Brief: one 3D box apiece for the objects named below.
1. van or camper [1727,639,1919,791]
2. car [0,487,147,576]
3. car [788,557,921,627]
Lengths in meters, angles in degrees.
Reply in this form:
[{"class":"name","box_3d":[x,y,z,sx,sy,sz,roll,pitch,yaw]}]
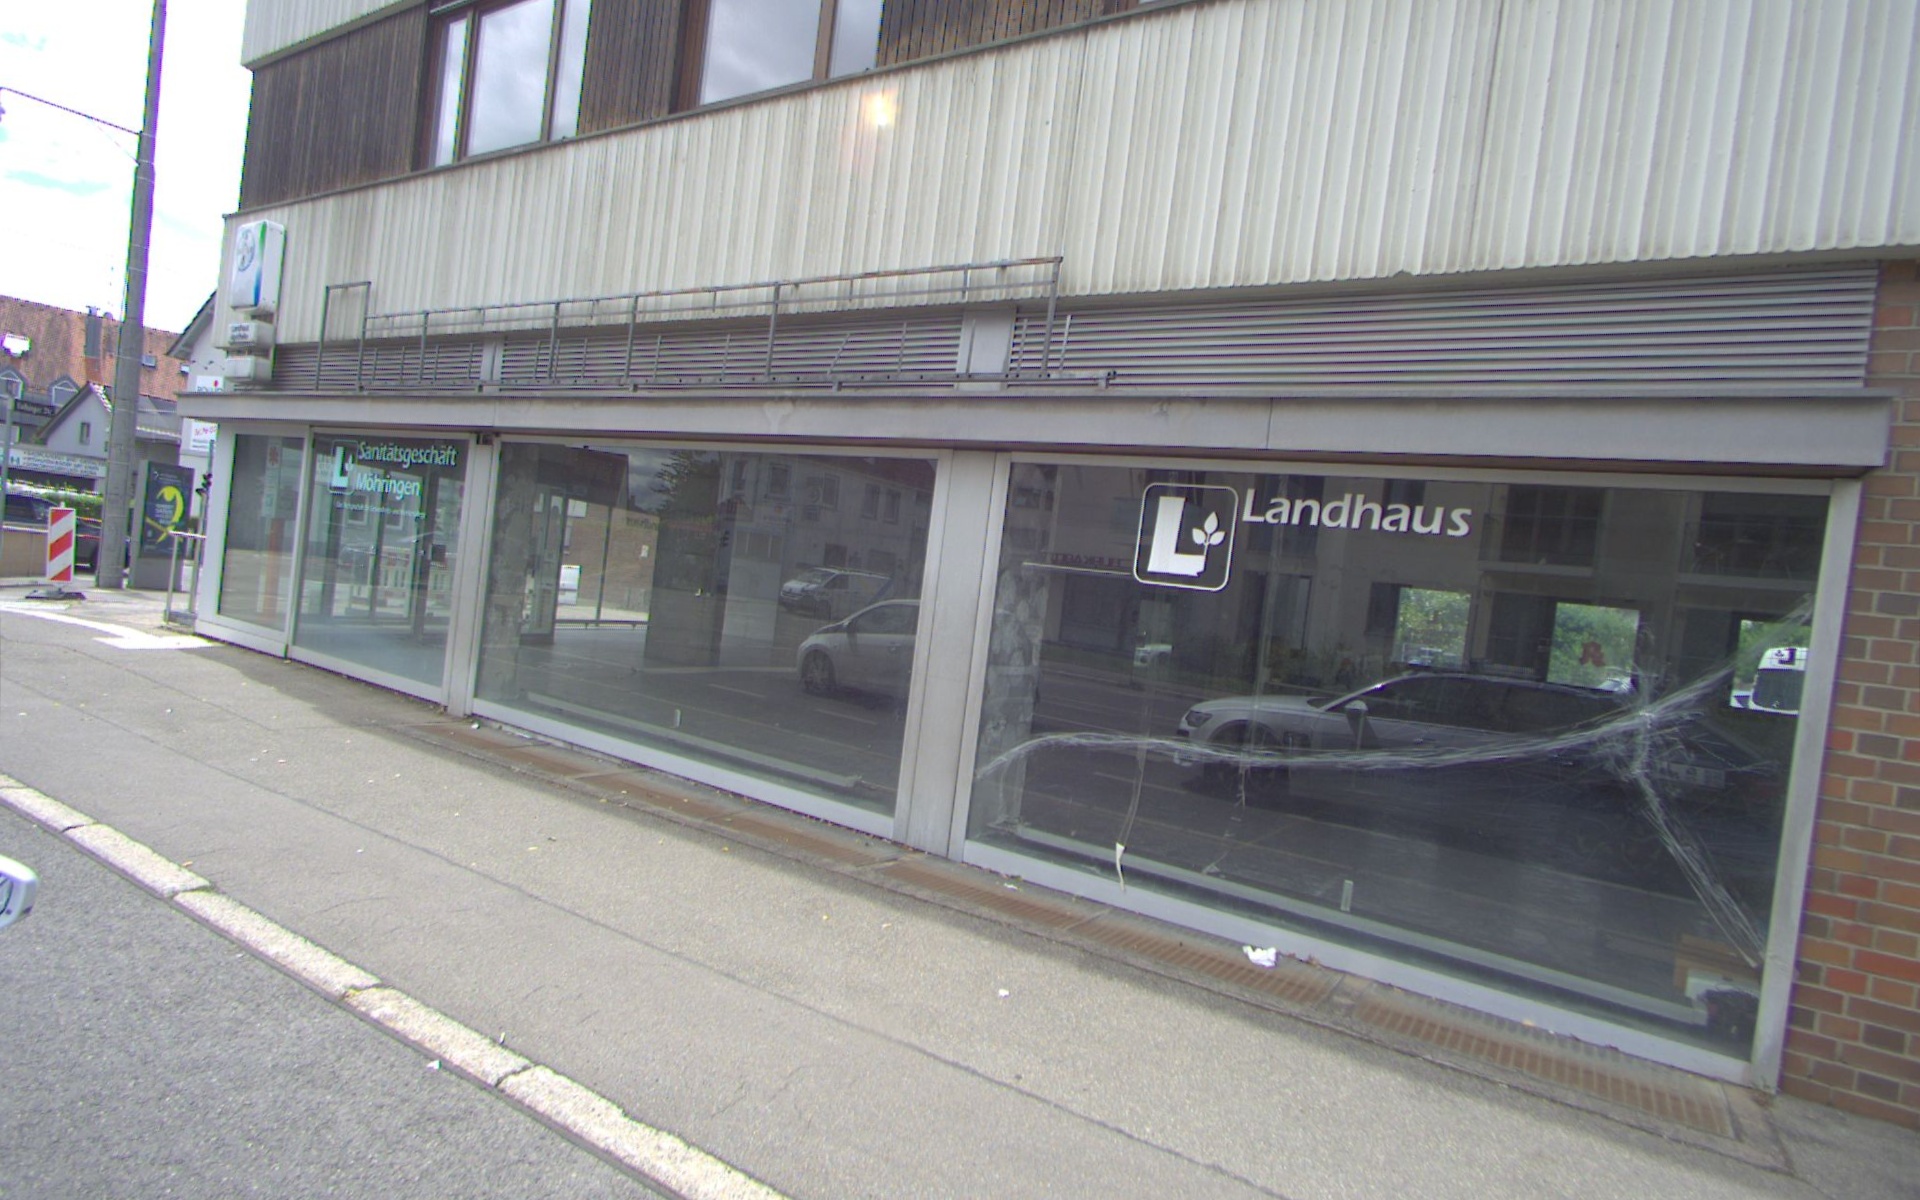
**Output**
[{"class":"van or camper","box_3d":[18.982,2.426,20.058,5.409,2.574,2.058,7,1,4]},{"class":"car","box_3d":[-21.329,-1.645,22.574,1.963,1.696,4.306,7,-1,21]},{"class":"car","box_3d":[-4.031,-0.280,38.995,4.691,2.037,1.976,9,-2,-44]}]
